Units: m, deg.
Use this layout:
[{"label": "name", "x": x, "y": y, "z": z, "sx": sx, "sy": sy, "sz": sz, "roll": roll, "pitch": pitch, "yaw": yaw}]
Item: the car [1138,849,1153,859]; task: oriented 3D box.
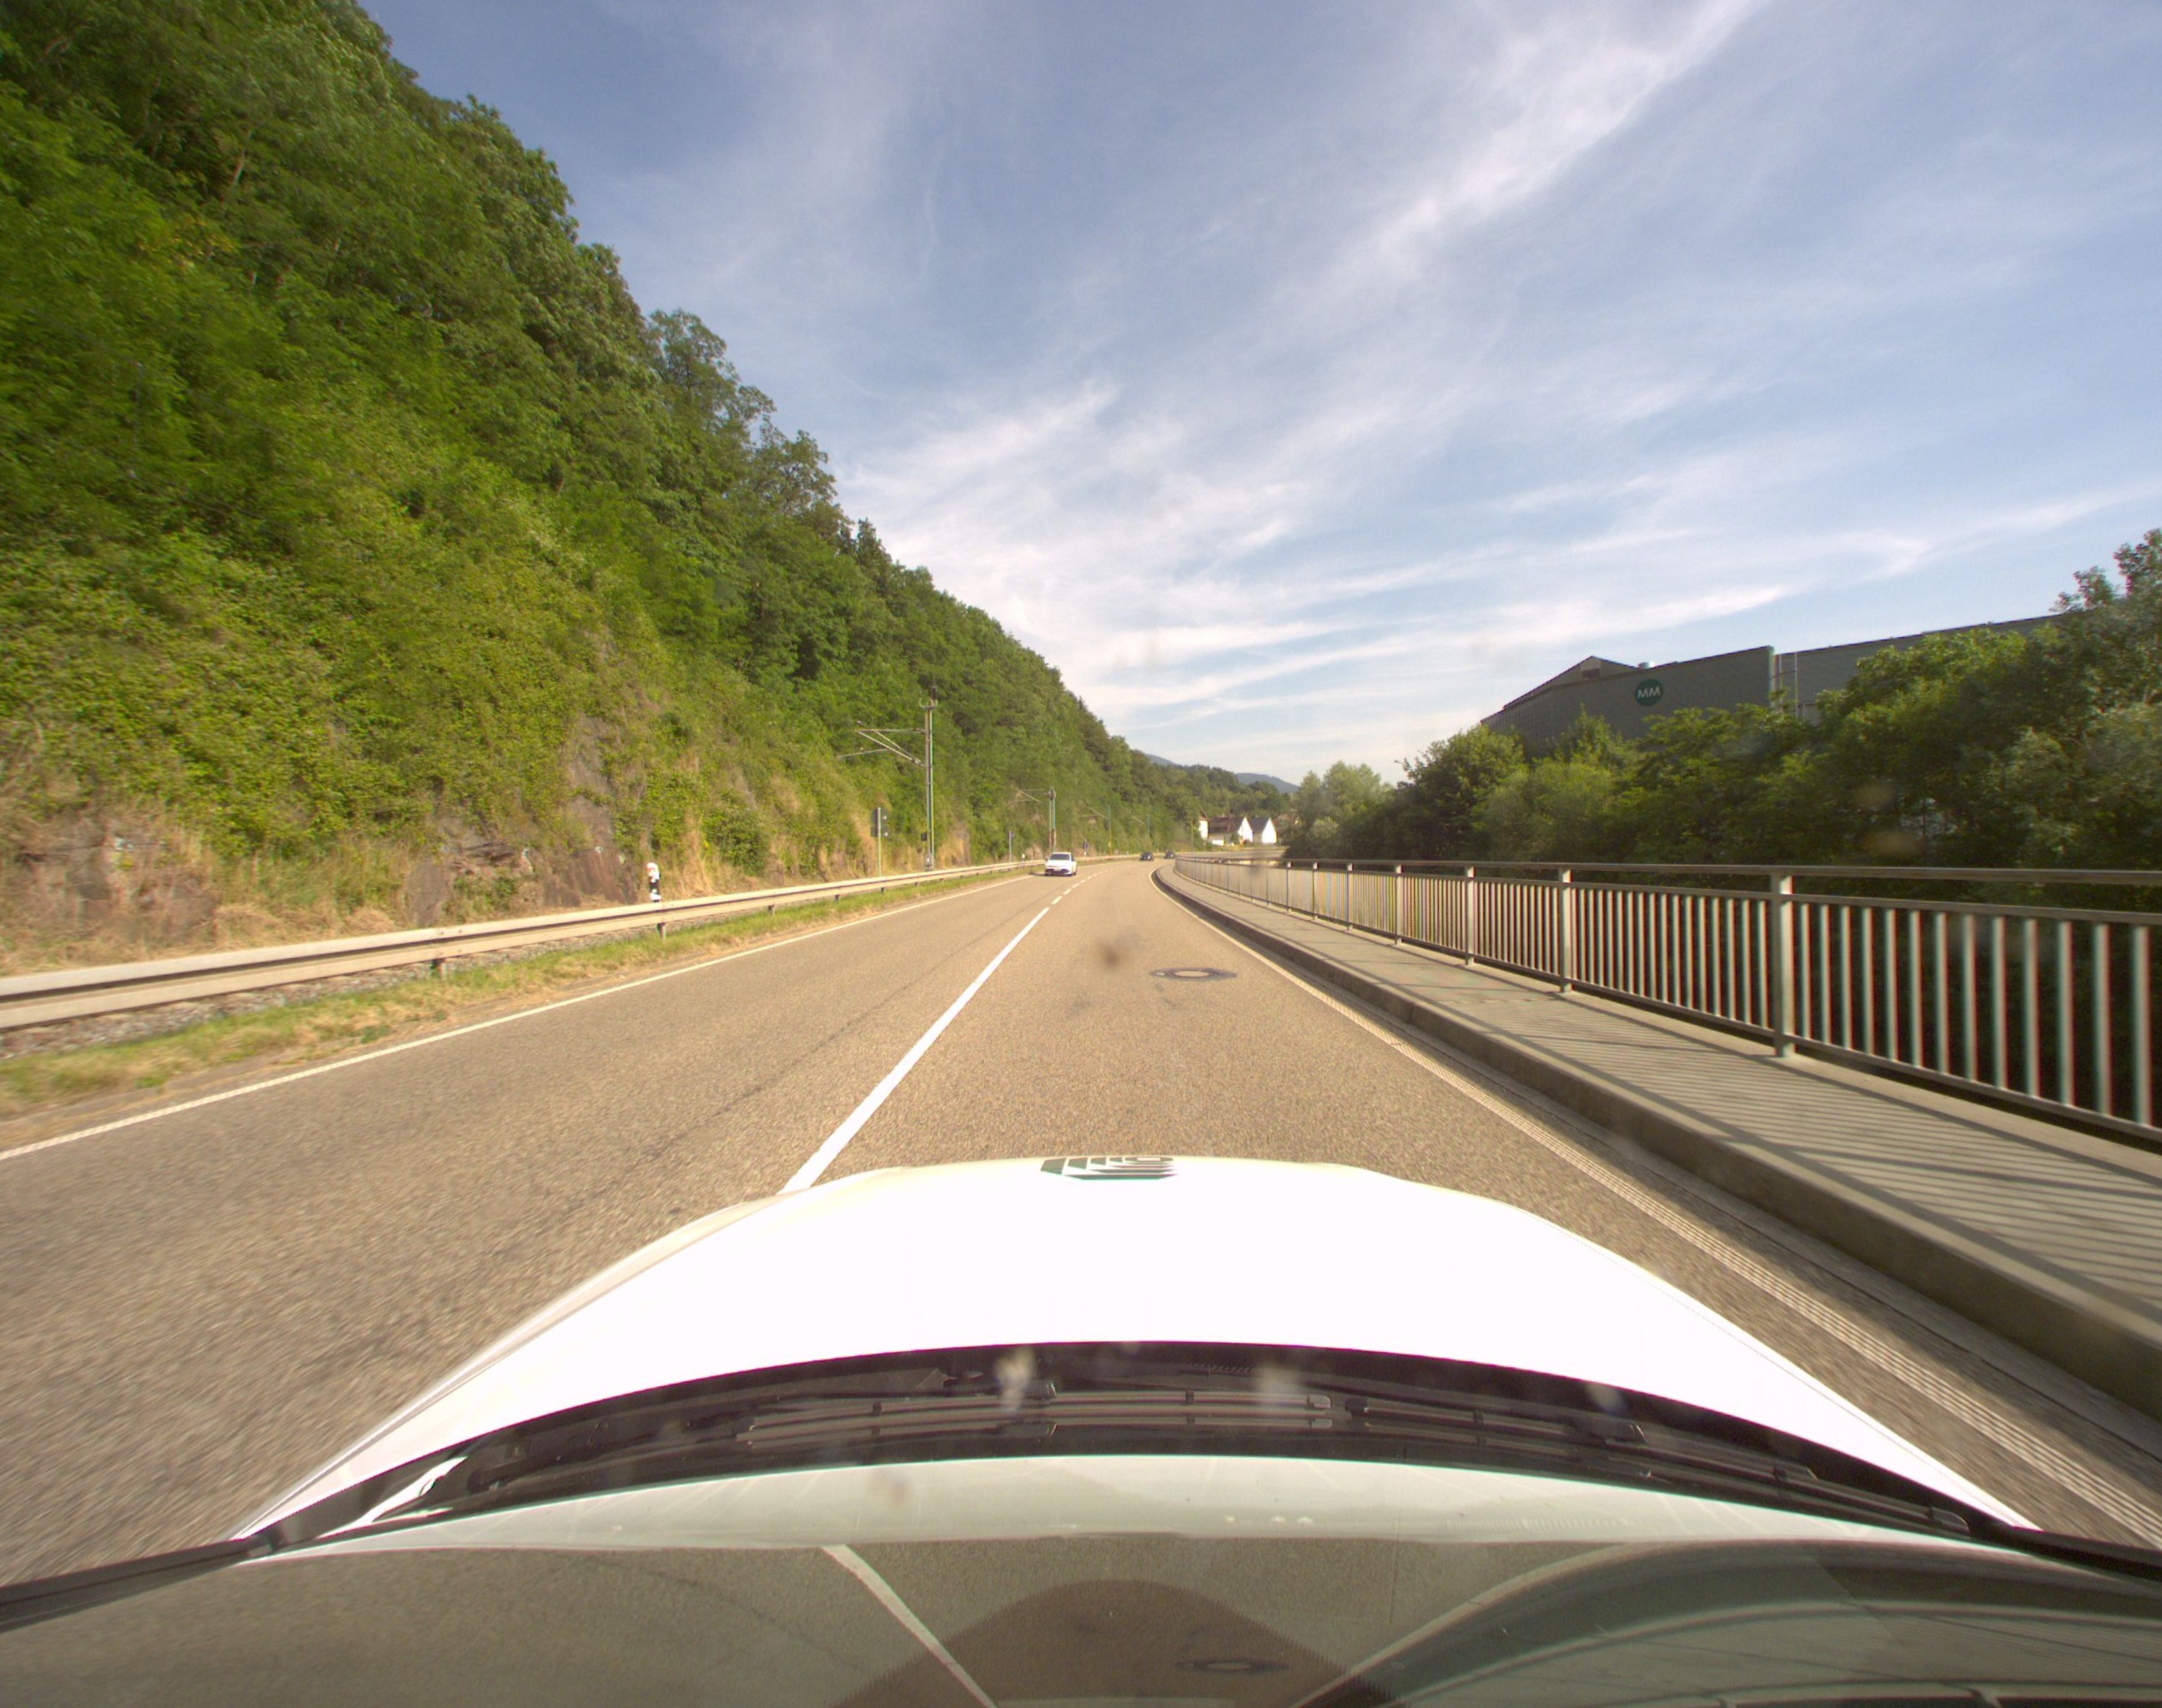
[{"label": "car", "x": 10.115, "y": -0.077, "z": 126.951, "sx": 1.835, "sy": 1.440, "sz": 3.910, "roll": -3, "pitch": 0, "yaw": 12}]

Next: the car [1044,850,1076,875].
[{"label": "car", "x": -1.329, "y": 0.519, "z": 53.626, "sx": 1.840, "sy": 1.544, "sz": 4.606, "roll": 0, "pitch": 0, "yaw": 2}]

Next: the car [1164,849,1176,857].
[{"label": "car", "x": 16.380, "y": -0.135, "z": 149.732, "sx": 1.835, "sy": 1.402, "sz": 4.491, "roll": -1, "pitch": 0, "yaw": 12}]
